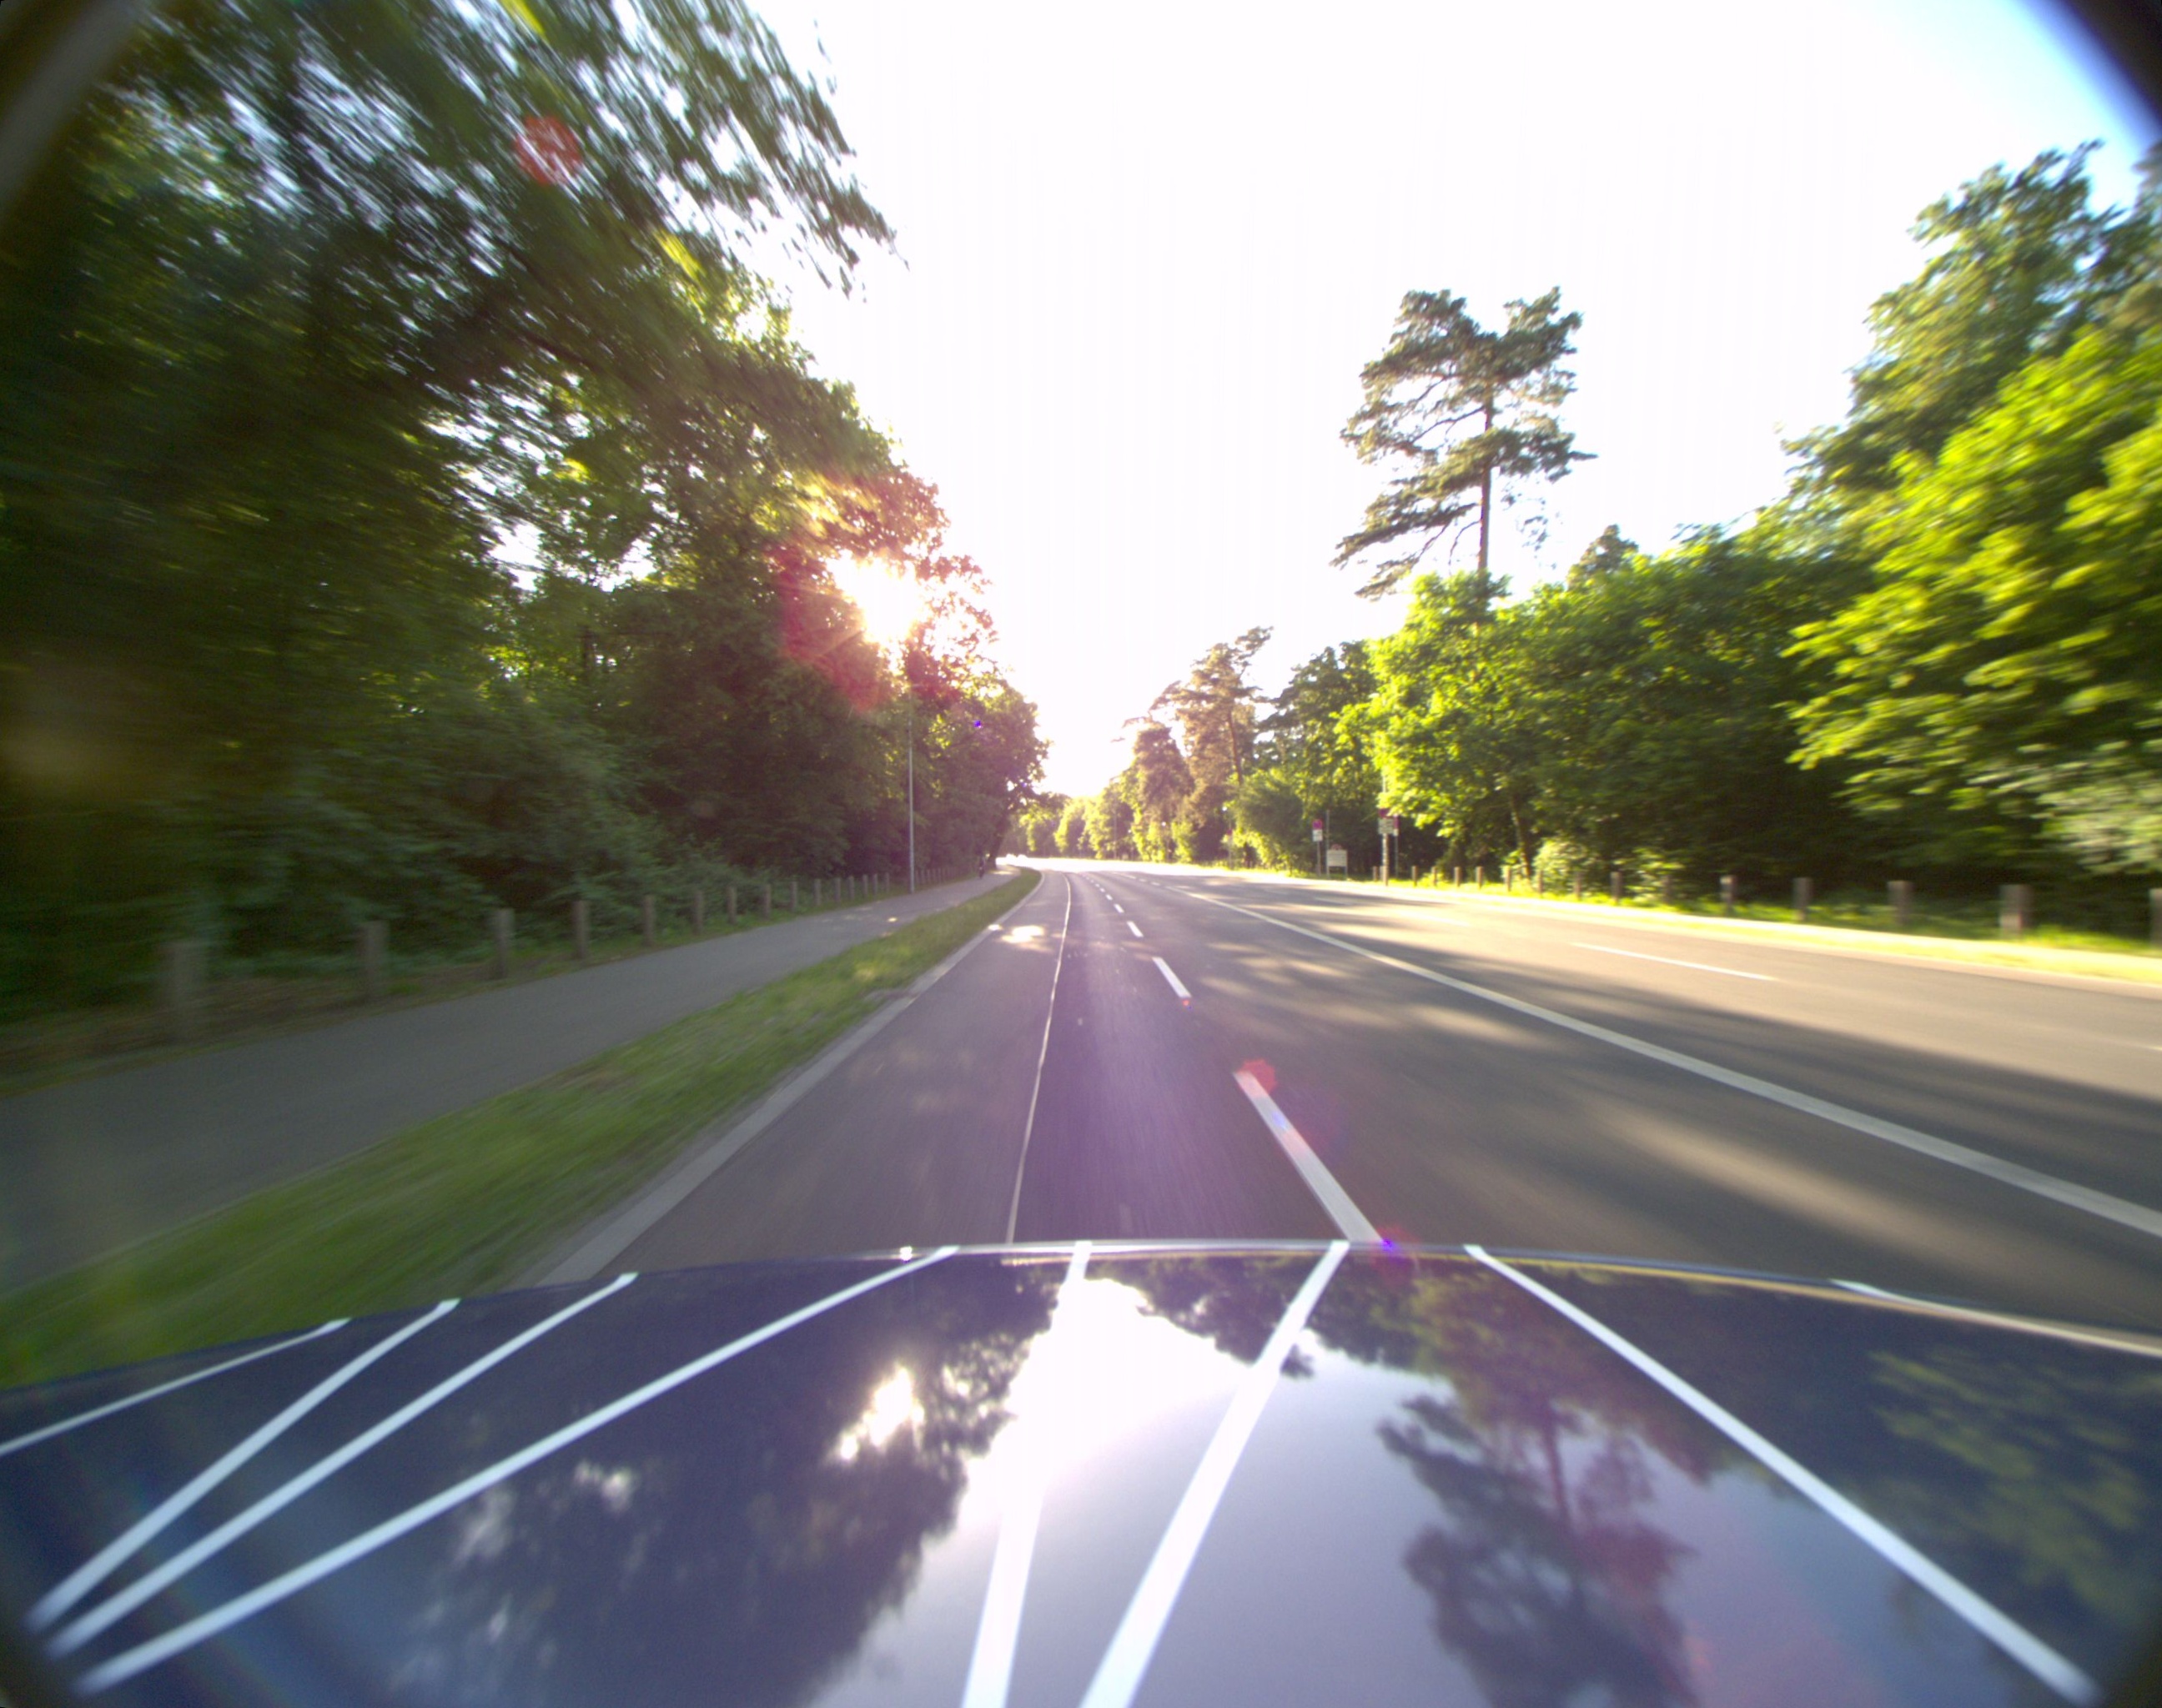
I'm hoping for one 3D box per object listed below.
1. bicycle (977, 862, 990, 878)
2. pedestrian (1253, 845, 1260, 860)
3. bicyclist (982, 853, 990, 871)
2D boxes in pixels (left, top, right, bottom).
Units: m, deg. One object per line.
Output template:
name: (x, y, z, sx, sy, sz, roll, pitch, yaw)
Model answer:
bicycle: (-6.828, 1.089, 53.358, 0.608, 1.051, 2.874, -1, 0, -1)
pedestrian: (14.985, -0.120, 65.023, 0.472, 1.307, 0.512, -1, 1, -1)
bicyclist: (-6.671, 0.566, 53.308, 0.514, 1.260, 0.497, -1, 1, -1)
